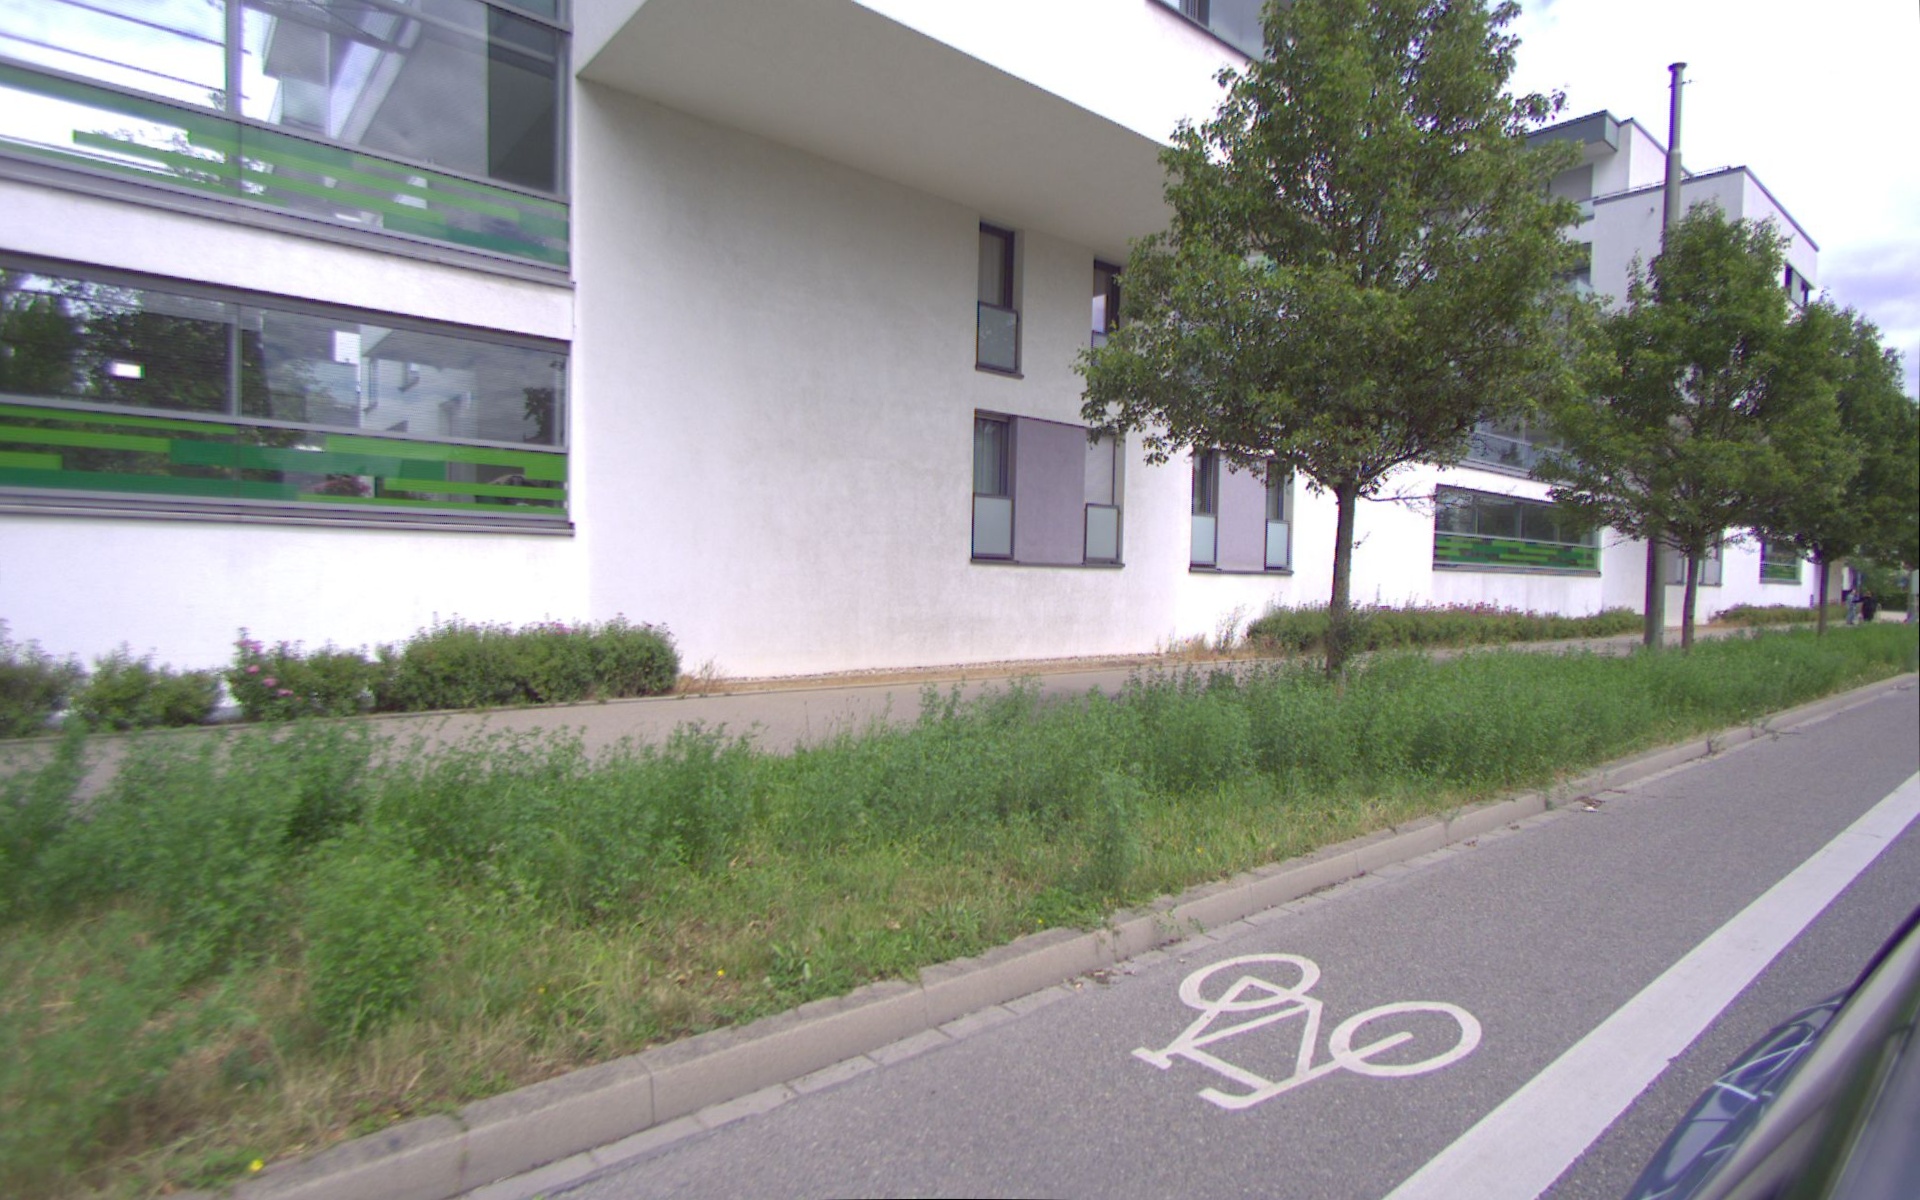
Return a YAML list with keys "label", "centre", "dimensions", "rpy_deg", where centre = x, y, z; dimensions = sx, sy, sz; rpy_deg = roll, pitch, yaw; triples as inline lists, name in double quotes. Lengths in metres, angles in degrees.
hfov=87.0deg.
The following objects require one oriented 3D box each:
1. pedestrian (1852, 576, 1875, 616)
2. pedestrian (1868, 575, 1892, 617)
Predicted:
- label: "pedestrian"
  centre: [42.364, -0.184, 47.461]
  dimensions: [0.613, 1.864, 0.584]
  rpy_deg: [-1, 0, 23]
- label: "pedestrian"
  centre: [42.460, -0.181, 46.700]
  dimensions: [0.690, 1.910, 0.740]
  rpy_deg: [-1, 0, -43]
